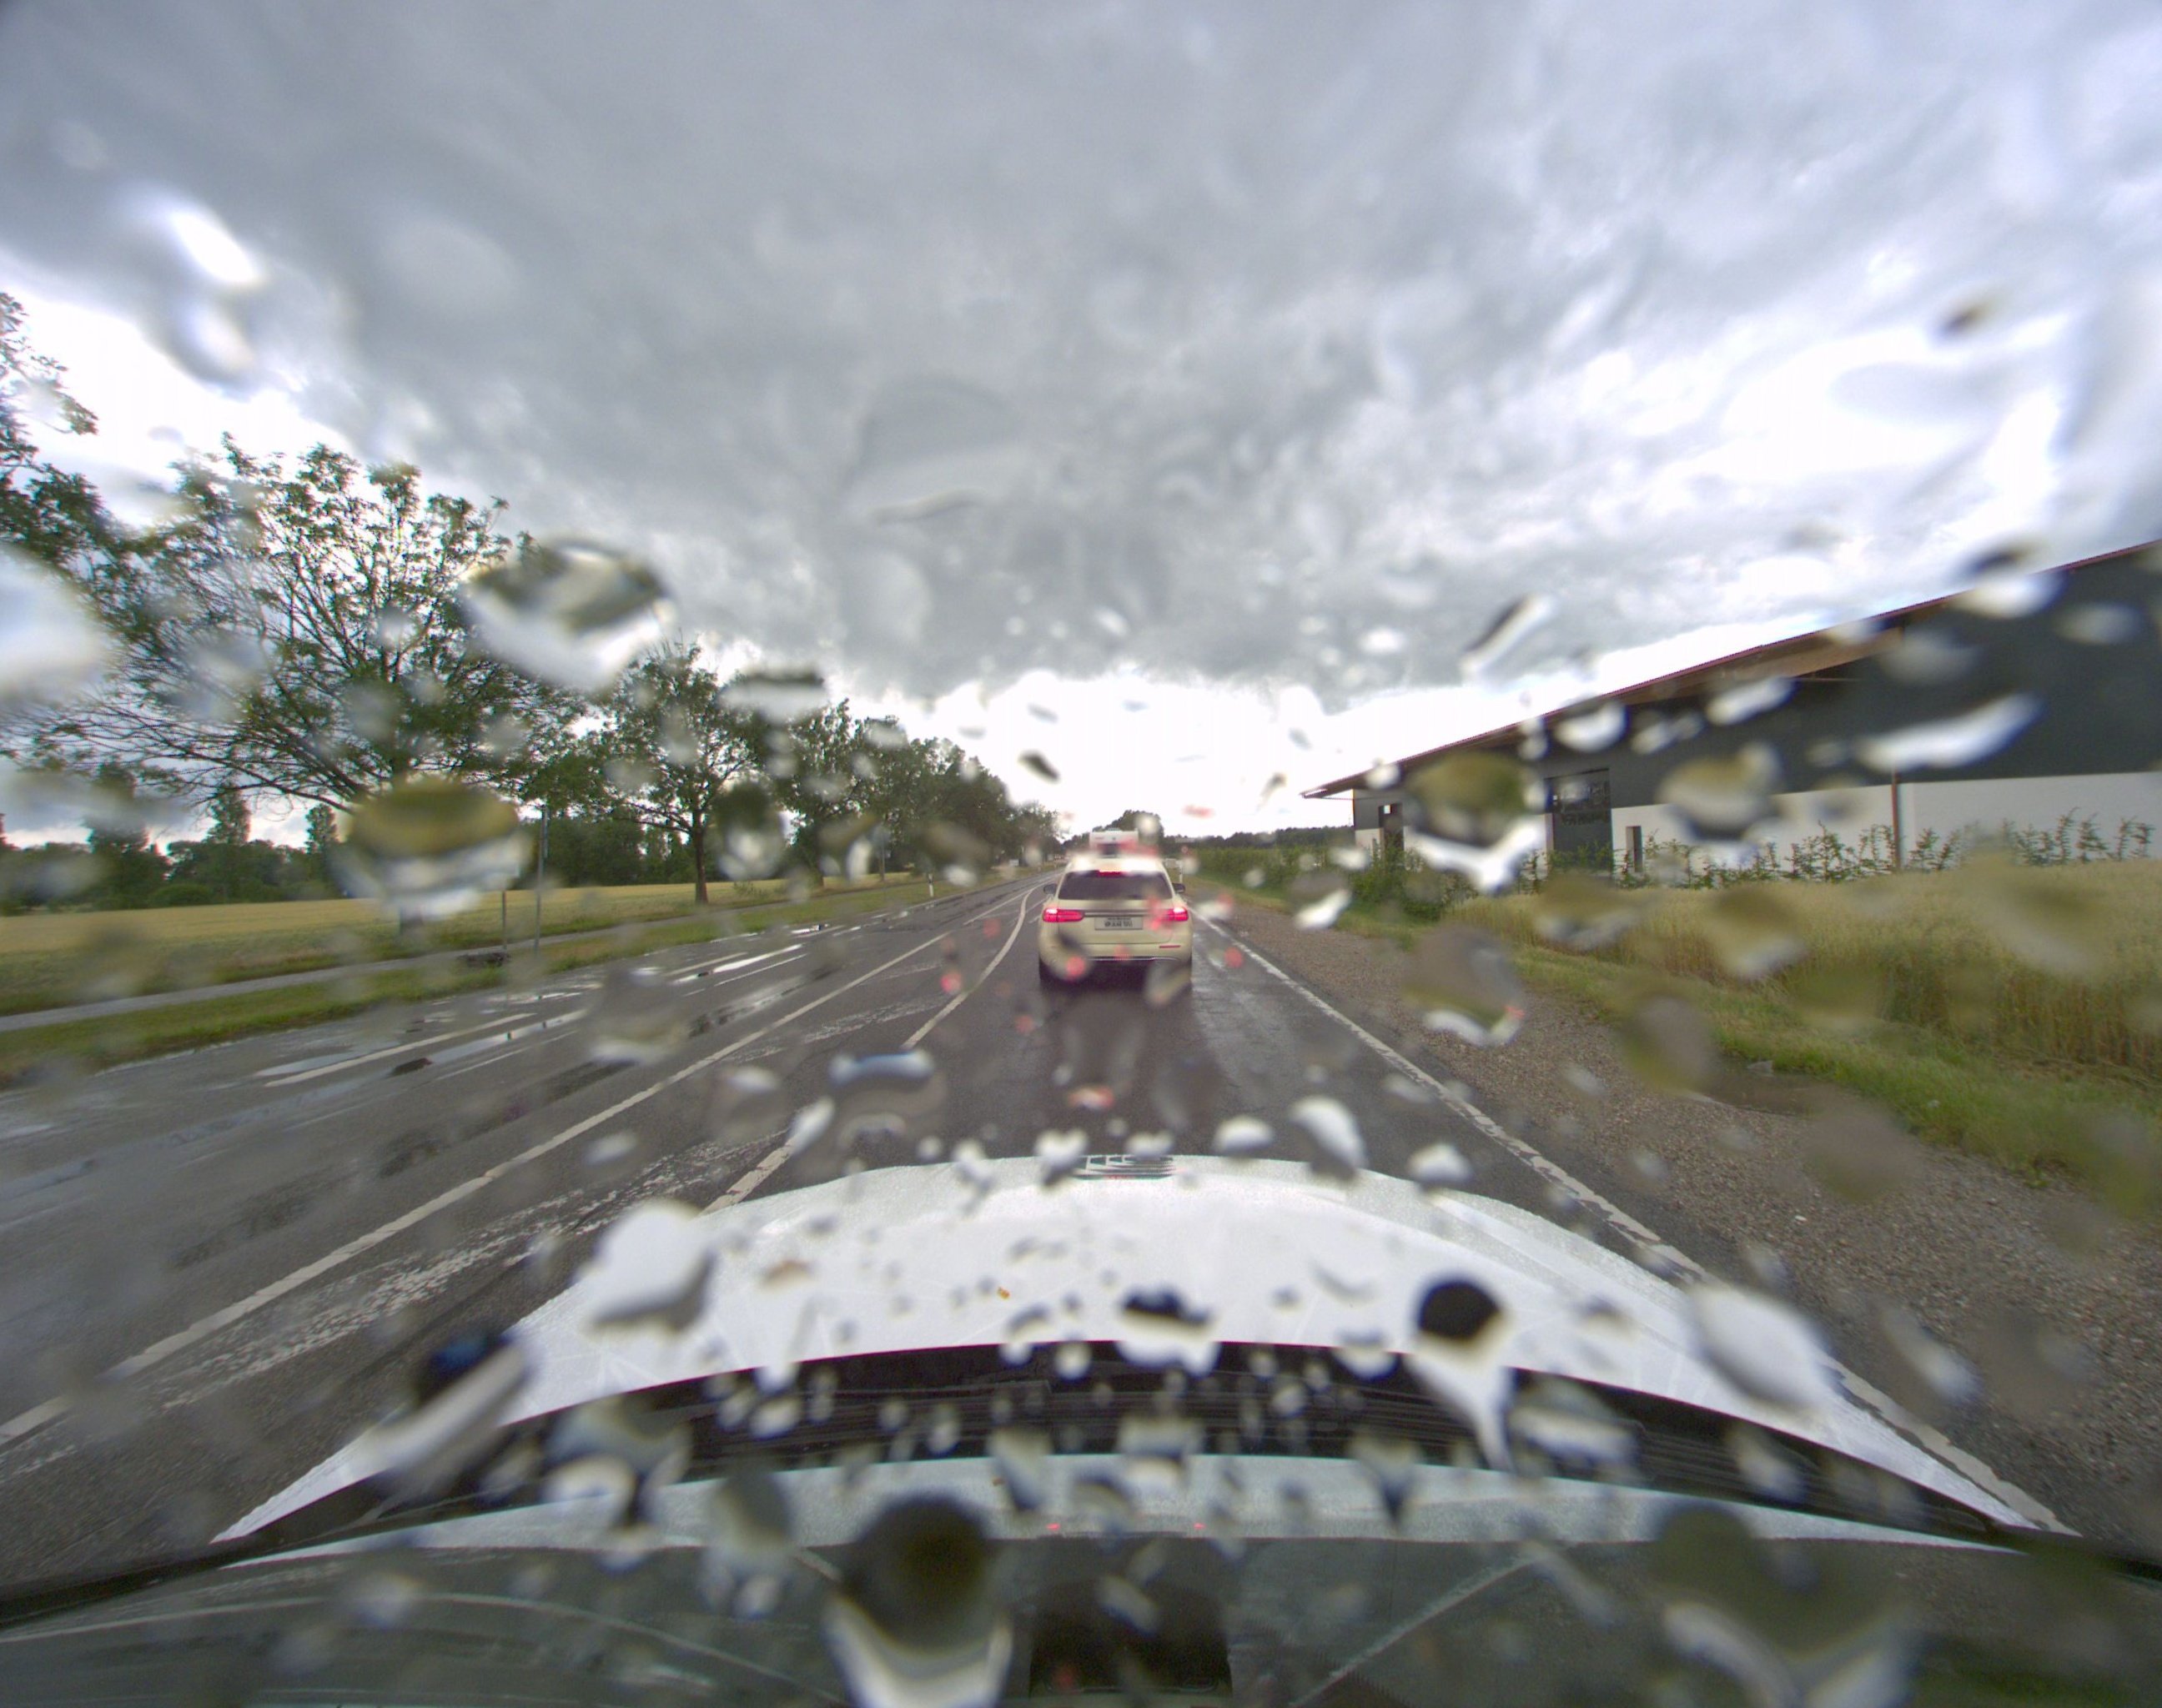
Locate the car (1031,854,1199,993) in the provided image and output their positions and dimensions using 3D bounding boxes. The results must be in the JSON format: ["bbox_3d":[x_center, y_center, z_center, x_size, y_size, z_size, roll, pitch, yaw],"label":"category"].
[{"bbox_3d":[0.453,0.750,10.779,1.790,1.464,4.033,-1,0,2],"label":"car"}]

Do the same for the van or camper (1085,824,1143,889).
[{"bbox_3d":[1.673,0.116,40.058,2.487,2.831,5.938,-3,0,3],"label":"van or camper"}]

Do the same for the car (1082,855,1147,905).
[{"bbox_3d":[1.074,0.779,26.002,1.887,1.429,3.930,-1,0,2],"label":"car"}]
